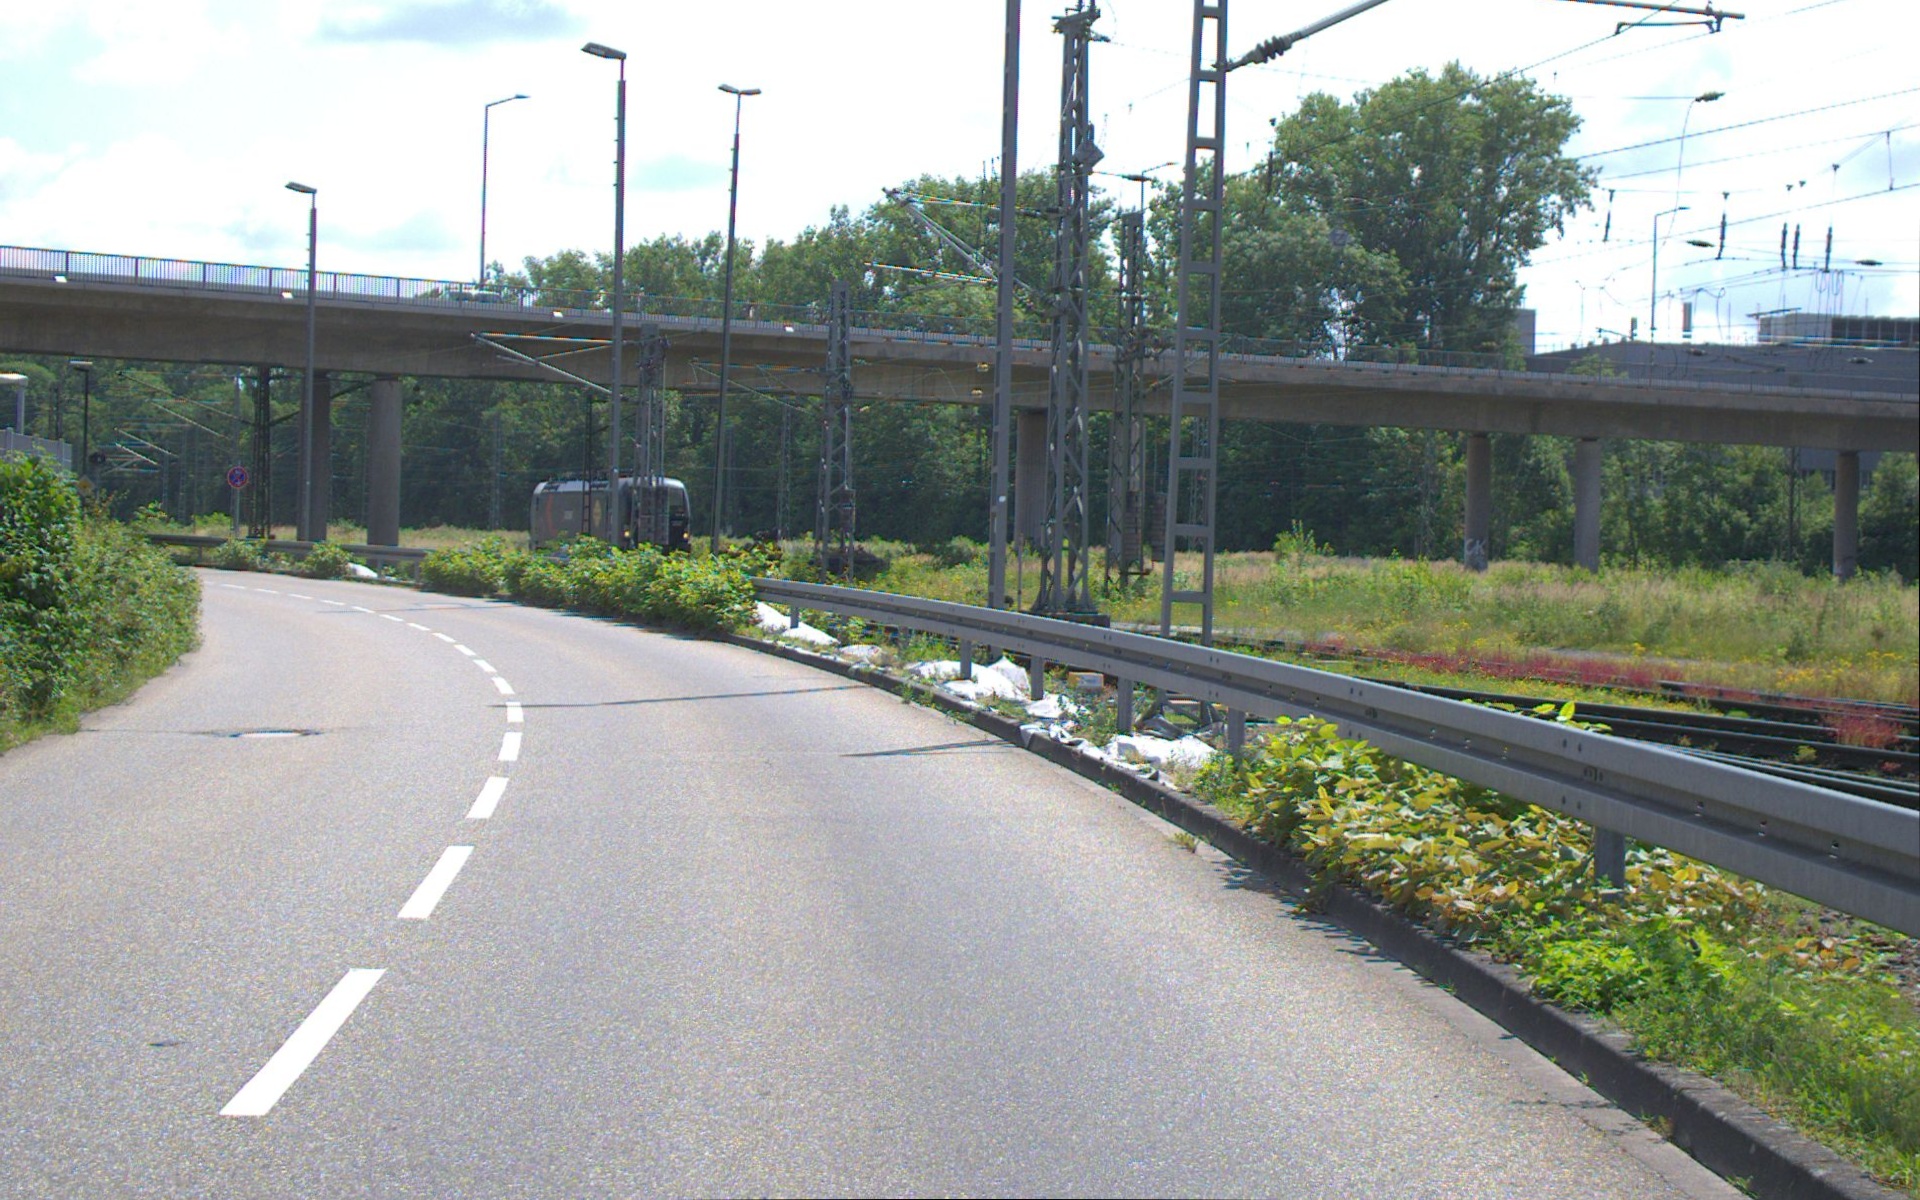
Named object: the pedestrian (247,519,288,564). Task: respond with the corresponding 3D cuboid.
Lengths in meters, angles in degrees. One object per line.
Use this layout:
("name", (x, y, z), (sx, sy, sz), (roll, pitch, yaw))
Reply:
("pedestrian", (-24.484, -2.069, 121.523), (1.110, 1.534, 1.580), (1, 1, -22))

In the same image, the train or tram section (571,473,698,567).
("train or tram section", (-12.863, -3.121, 135.176), (2.889, 3.497, 8.568), (1, 1, -19))
